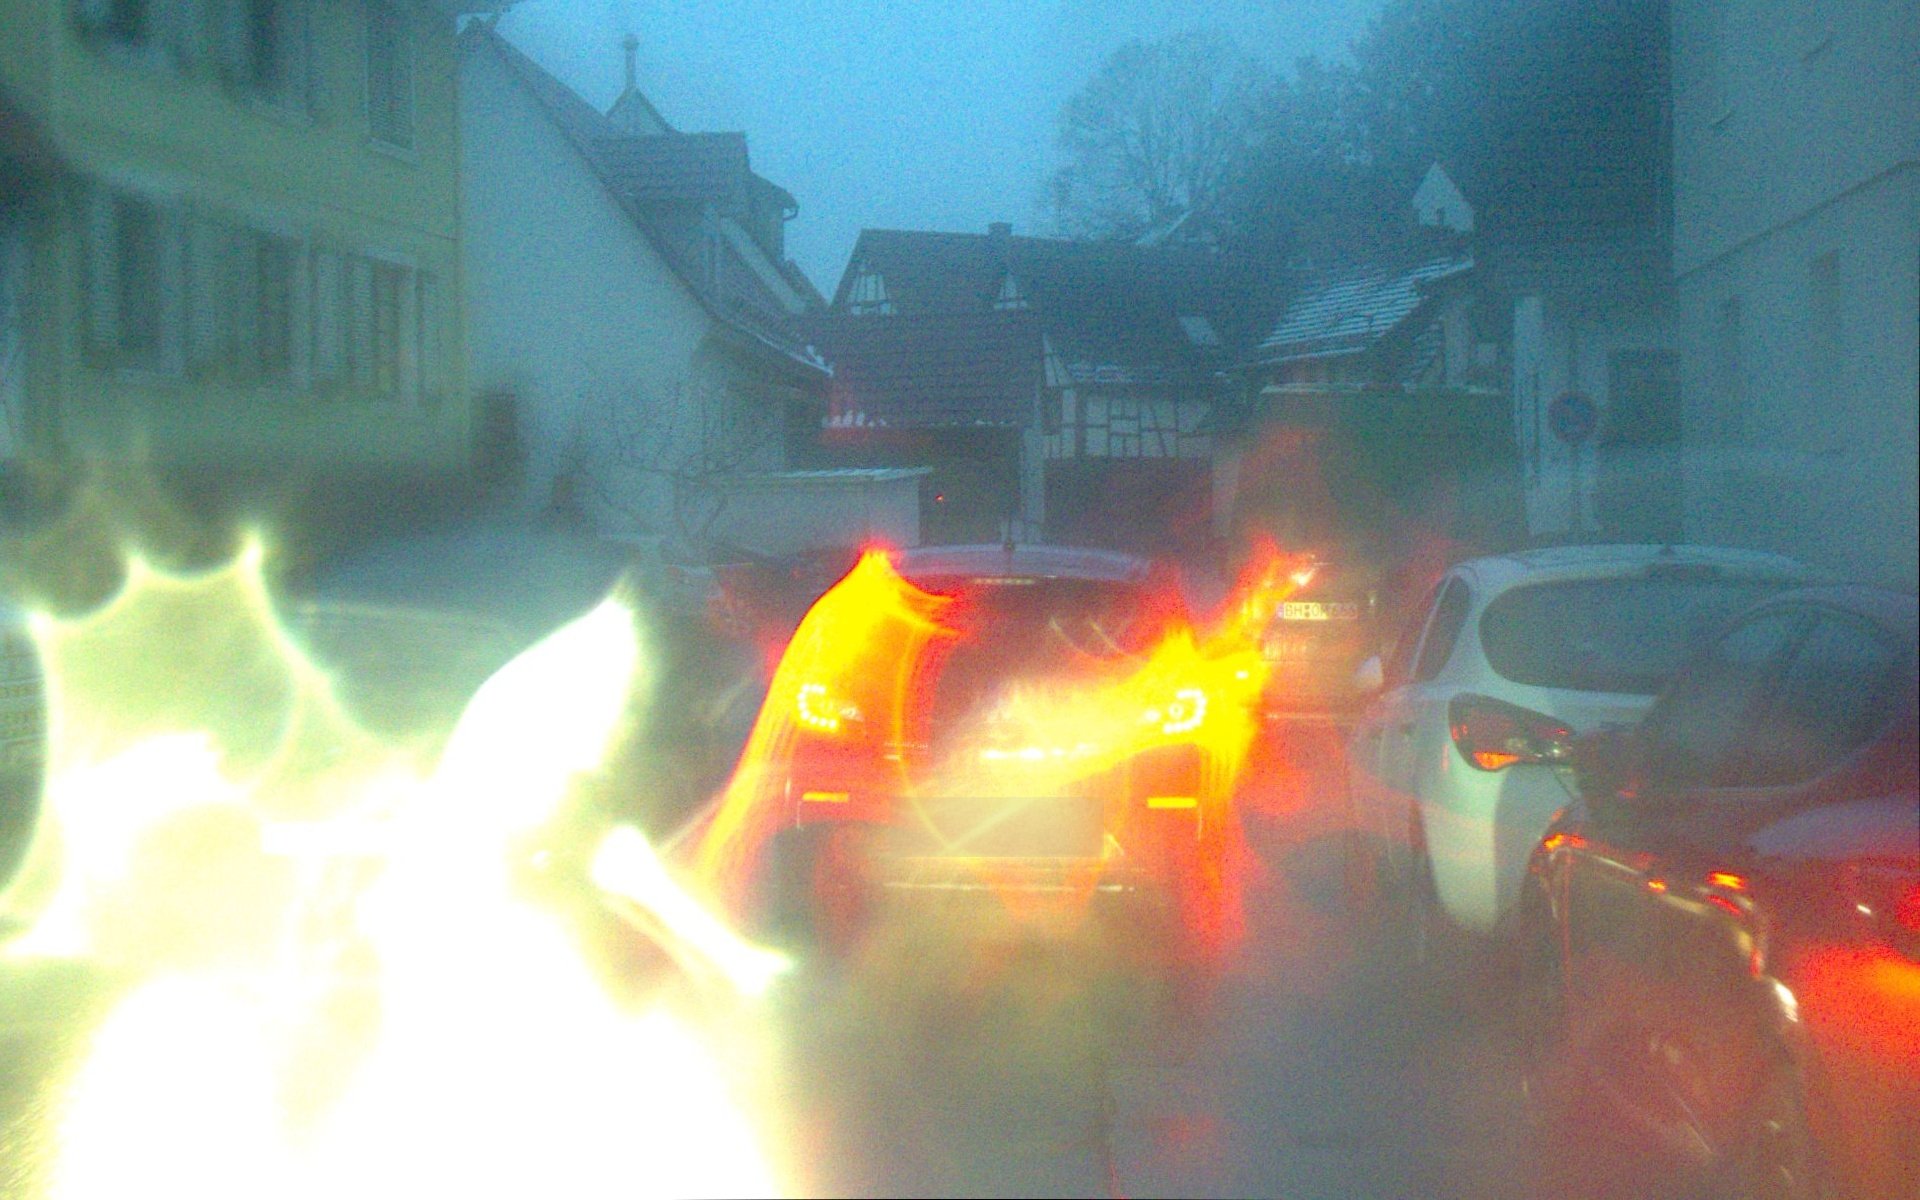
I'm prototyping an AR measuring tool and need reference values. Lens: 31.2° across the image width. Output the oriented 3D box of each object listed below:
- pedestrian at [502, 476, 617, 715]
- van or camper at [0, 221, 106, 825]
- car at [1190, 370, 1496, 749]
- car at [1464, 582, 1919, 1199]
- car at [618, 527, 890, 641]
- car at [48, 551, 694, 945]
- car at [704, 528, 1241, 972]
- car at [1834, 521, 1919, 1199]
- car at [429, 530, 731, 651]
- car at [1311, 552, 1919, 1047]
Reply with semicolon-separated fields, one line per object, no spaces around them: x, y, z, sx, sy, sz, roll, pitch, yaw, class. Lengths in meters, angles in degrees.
-3.408;-0.043;29.290;0.873;2.007;0.795;0;1;0;pedestrian
-7.677;-0.236;17.089;6.062;2.945;2.406;-3;1;6;van or camper
2.557;-0.293;23.711;1.814;2.405;3.751;0;1;2;car
2.145;0.689;7.057;1.679;1.390;3.752;0;1;0;car
-2.745;-0.228;46.351;3.507;1.502;1.692;0;1;2;car
-2.299;0.506;14.599;1.868;1.397;4.366;0;1;2;car
0.080;0.472;13.648;1.795;1.471;4.000;1;1;1;car
2.059;0.702;2.377;1.798;1.529;4.000;0;1;-2;car
-4.807;-0.137;43.736;3.508;1.502;1.692;0;1;8;car
2.266;0.591;12.484;1.725;1.502;3.751;0;1;2;car
